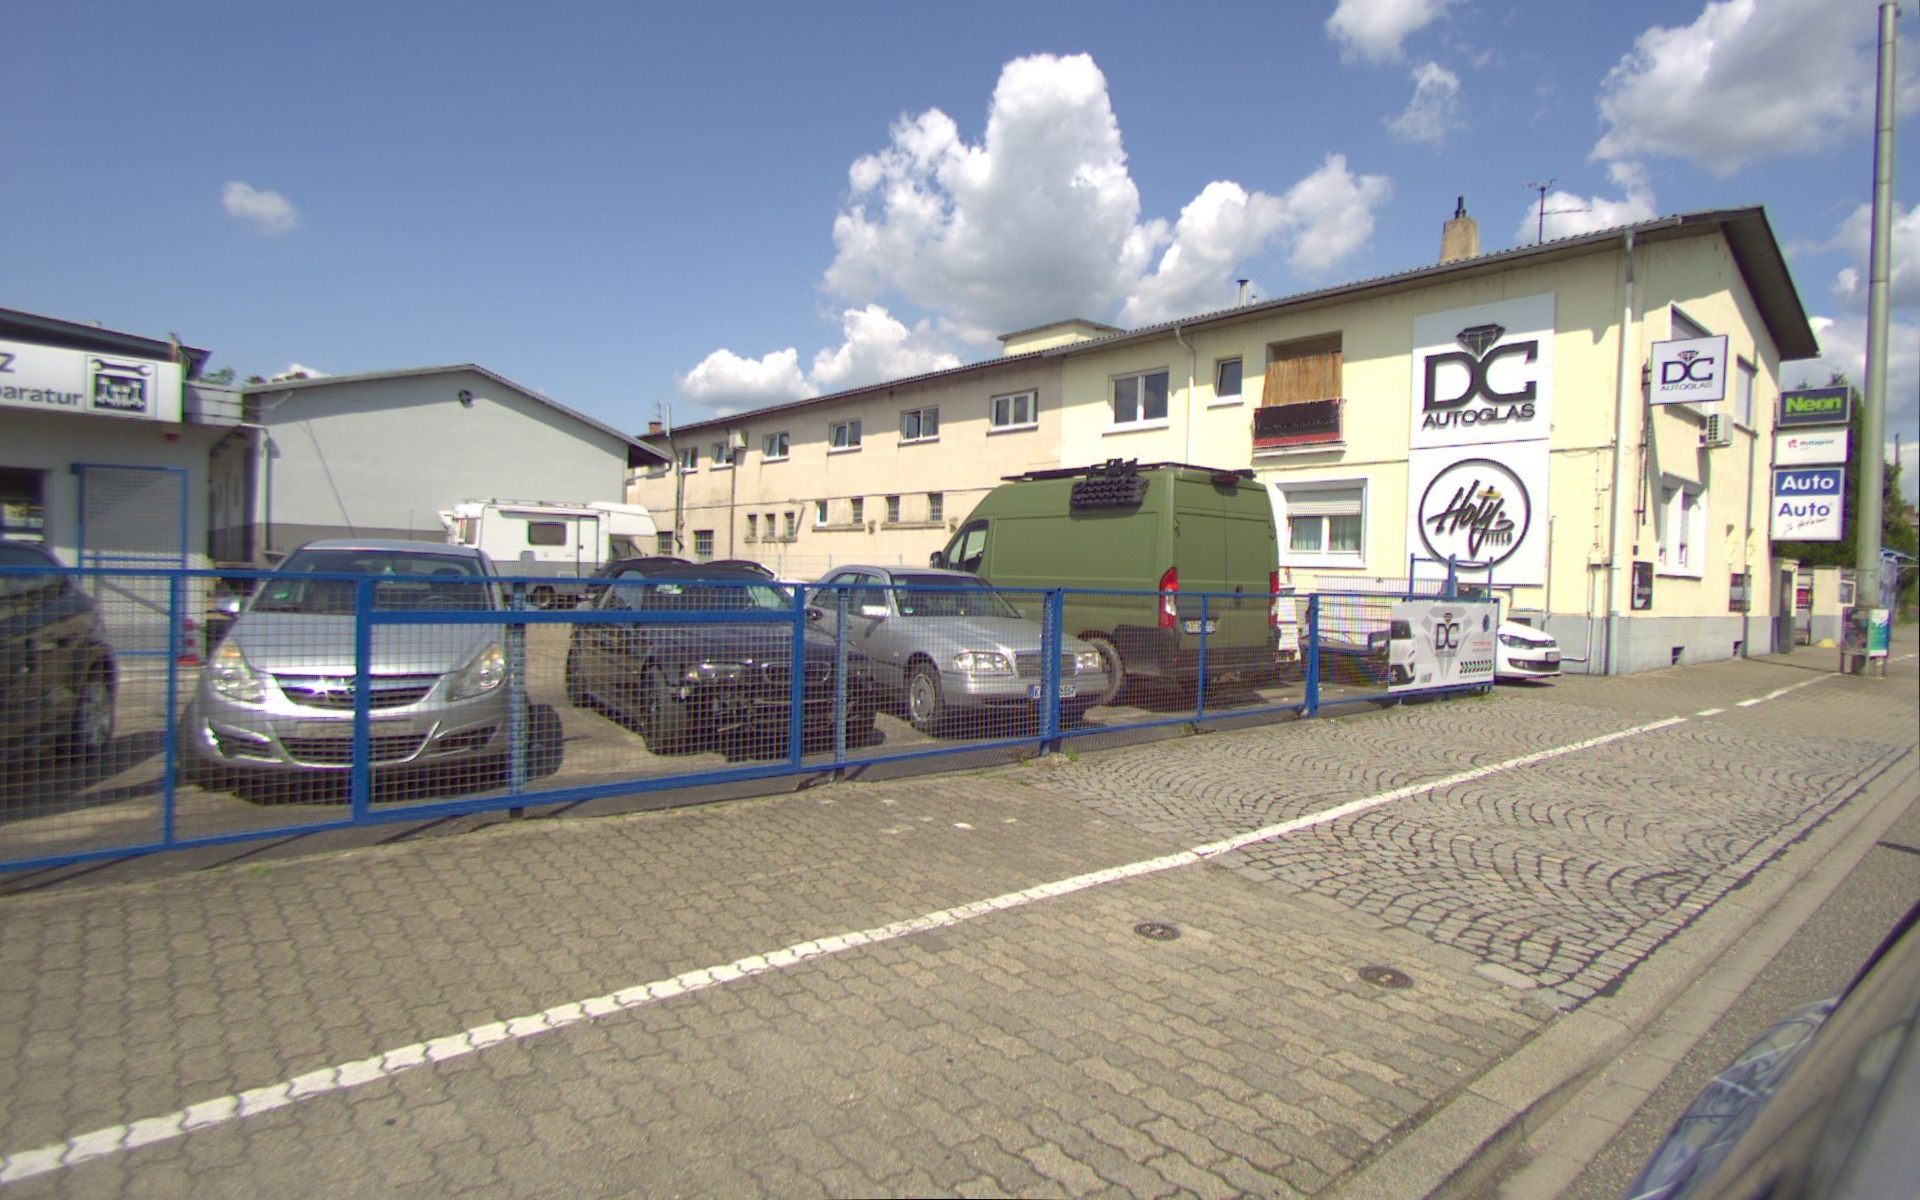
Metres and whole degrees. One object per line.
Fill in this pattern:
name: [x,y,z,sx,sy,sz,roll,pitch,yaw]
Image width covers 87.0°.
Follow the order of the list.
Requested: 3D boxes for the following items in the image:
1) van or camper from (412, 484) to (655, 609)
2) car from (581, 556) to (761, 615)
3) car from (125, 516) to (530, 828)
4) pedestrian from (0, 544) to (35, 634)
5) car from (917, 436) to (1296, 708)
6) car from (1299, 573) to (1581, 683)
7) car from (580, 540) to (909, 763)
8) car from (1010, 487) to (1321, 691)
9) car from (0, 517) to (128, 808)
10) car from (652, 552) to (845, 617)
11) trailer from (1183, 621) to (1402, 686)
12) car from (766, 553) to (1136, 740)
van or camper: [-11.303,-1.325,27.111,5.556,3.002,2.272,0,2,-42]
car: [-7.306,-0.359,25.811,4.112,1.378,1.645,0,2,-41]
car: [-3.898,0.280,6.841,1.736,1.470,3.778,1,2,-24]
pedestrian: [-13.161,-0.158,13.882,0.652,1.224,0.566,1,1,-39]
car: [1.588,-0.350,12.256,2.075,2.675,4.208,1,2,-39]
car: [7.535,0.361,16.179,1.527,1.481,3.775,1,2,-39]
car: [-2.128,0.273,8.898,1.737,1.470,4.128,1,2,-28]
car: [2.708,-0.208,14.208,1.557,2.436,4.208,1,2,-39]
car: [-5.621,0.304,4.876,1.606,1.470,3.700,1,2,-25]
car: [-4.843,-0.349,23.548,4.112,1.378,1.645,0,2,-41]
trailer: [4.750,0.724,14.651,1.307,0.674,2.730,0,2,-42]
car: [-0.338,0.286,10.203,1.679,1.470,4.292,1,2,-33]
